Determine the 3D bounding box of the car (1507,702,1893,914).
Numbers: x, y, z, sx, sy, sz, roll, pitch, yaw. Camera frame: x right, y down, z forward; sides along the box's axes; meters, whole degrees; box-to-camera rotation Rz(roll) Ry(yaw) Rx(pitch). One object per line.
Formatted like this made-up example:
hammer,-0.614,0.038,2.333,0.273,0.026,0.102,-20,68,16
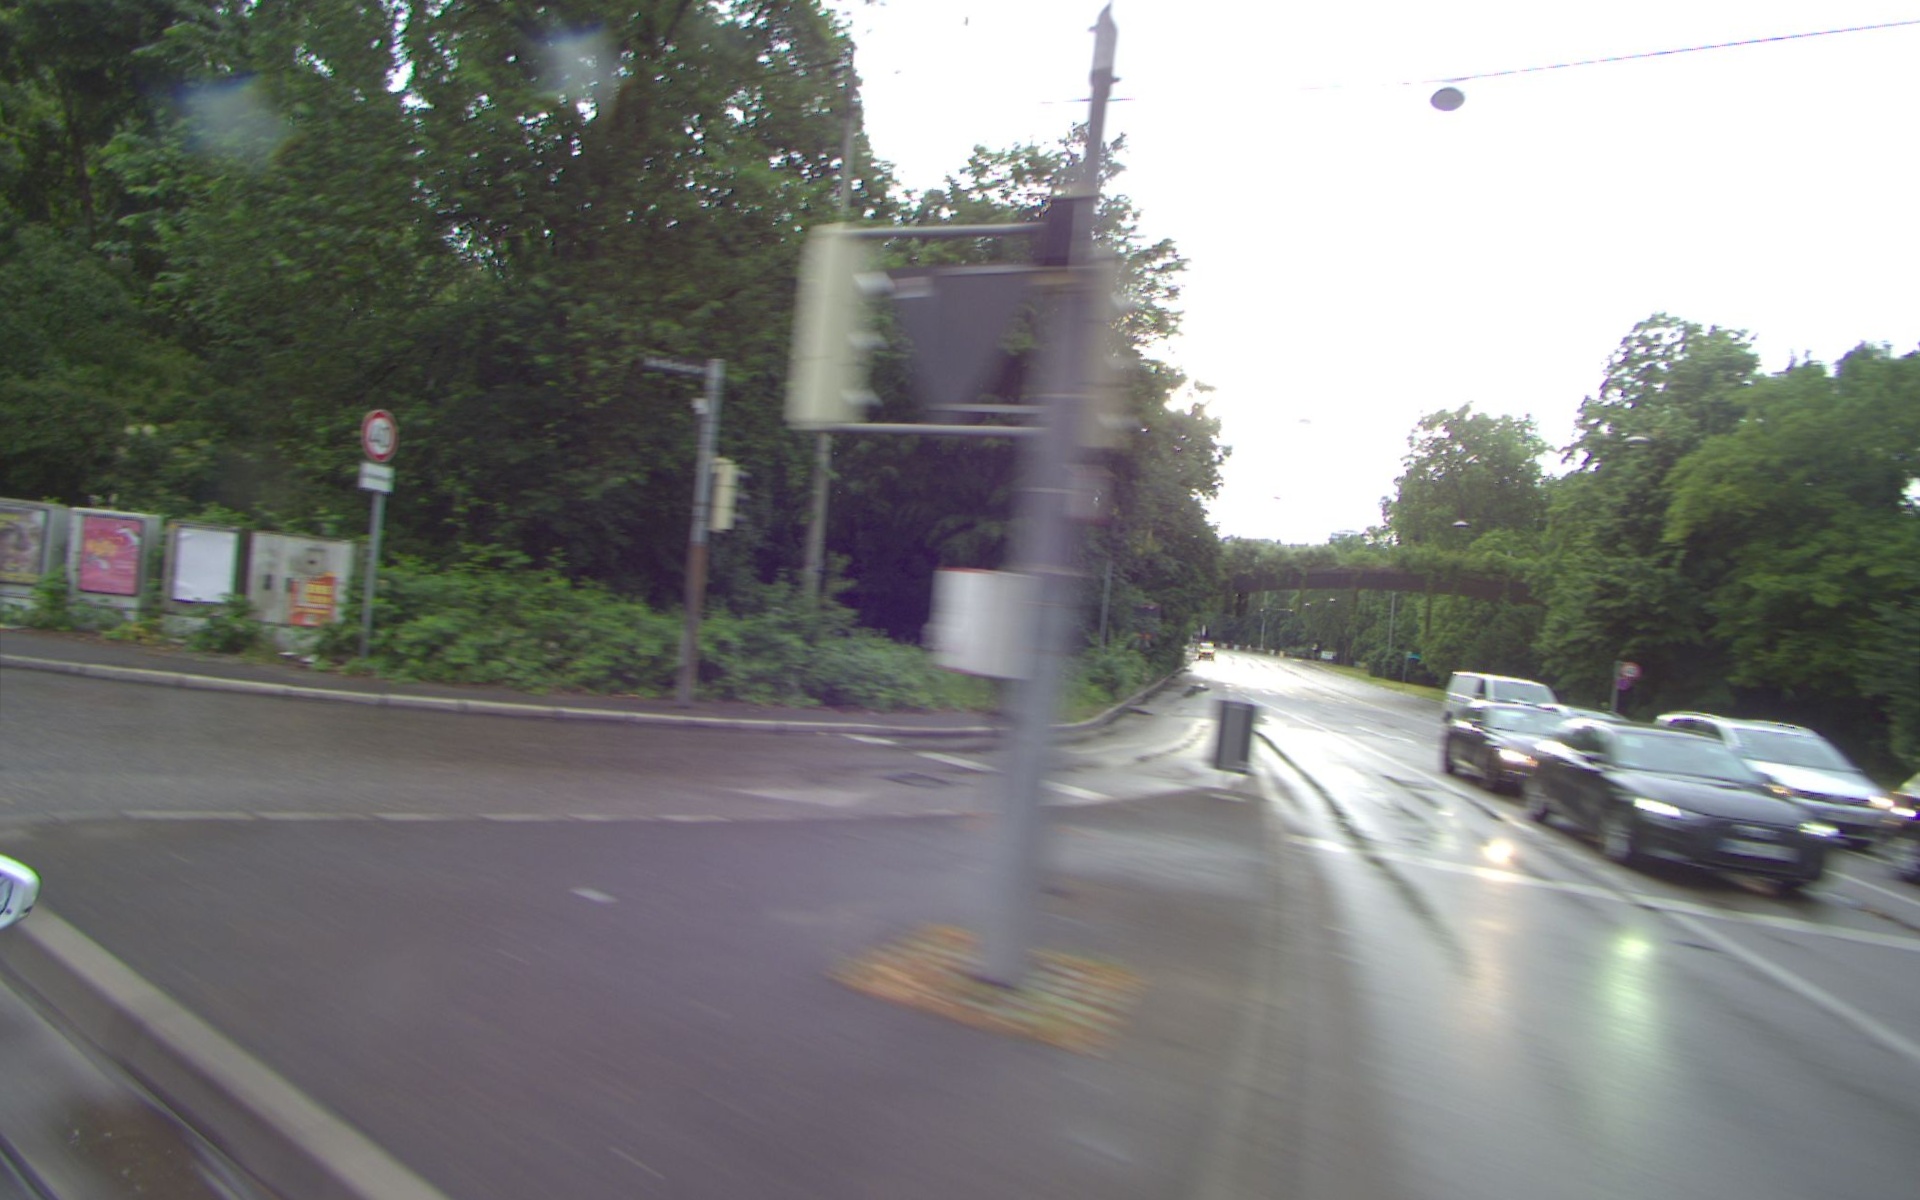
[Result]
car,7.980,2.125,11.441,1.913,1.457,4.216,7,-1,14

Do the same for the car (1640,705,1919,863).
car,12.589,2.686,15.562,1.871,1.699,4.216,7,-2,13

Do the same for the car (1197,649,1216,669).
car,29.492,7.040,120.540,1.849,1.996,3.893,7,-3,13

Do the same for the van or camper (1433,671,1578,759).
van or camper,15.142,3.125,28.281,1.870,1.969,4.873,7,-2,9

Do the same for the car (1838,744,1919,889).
car,11.301,2.511,10.082,1.759,1.477,4.205,8,-1,11

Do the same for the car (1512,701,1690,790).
car,13.933,3.105,22.150,1.627,1.477,3.872,7,-3,7

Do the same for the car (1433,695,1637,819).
car,9.552,2.531,17.132,1.795,1.419,4.451,7,-1,15
